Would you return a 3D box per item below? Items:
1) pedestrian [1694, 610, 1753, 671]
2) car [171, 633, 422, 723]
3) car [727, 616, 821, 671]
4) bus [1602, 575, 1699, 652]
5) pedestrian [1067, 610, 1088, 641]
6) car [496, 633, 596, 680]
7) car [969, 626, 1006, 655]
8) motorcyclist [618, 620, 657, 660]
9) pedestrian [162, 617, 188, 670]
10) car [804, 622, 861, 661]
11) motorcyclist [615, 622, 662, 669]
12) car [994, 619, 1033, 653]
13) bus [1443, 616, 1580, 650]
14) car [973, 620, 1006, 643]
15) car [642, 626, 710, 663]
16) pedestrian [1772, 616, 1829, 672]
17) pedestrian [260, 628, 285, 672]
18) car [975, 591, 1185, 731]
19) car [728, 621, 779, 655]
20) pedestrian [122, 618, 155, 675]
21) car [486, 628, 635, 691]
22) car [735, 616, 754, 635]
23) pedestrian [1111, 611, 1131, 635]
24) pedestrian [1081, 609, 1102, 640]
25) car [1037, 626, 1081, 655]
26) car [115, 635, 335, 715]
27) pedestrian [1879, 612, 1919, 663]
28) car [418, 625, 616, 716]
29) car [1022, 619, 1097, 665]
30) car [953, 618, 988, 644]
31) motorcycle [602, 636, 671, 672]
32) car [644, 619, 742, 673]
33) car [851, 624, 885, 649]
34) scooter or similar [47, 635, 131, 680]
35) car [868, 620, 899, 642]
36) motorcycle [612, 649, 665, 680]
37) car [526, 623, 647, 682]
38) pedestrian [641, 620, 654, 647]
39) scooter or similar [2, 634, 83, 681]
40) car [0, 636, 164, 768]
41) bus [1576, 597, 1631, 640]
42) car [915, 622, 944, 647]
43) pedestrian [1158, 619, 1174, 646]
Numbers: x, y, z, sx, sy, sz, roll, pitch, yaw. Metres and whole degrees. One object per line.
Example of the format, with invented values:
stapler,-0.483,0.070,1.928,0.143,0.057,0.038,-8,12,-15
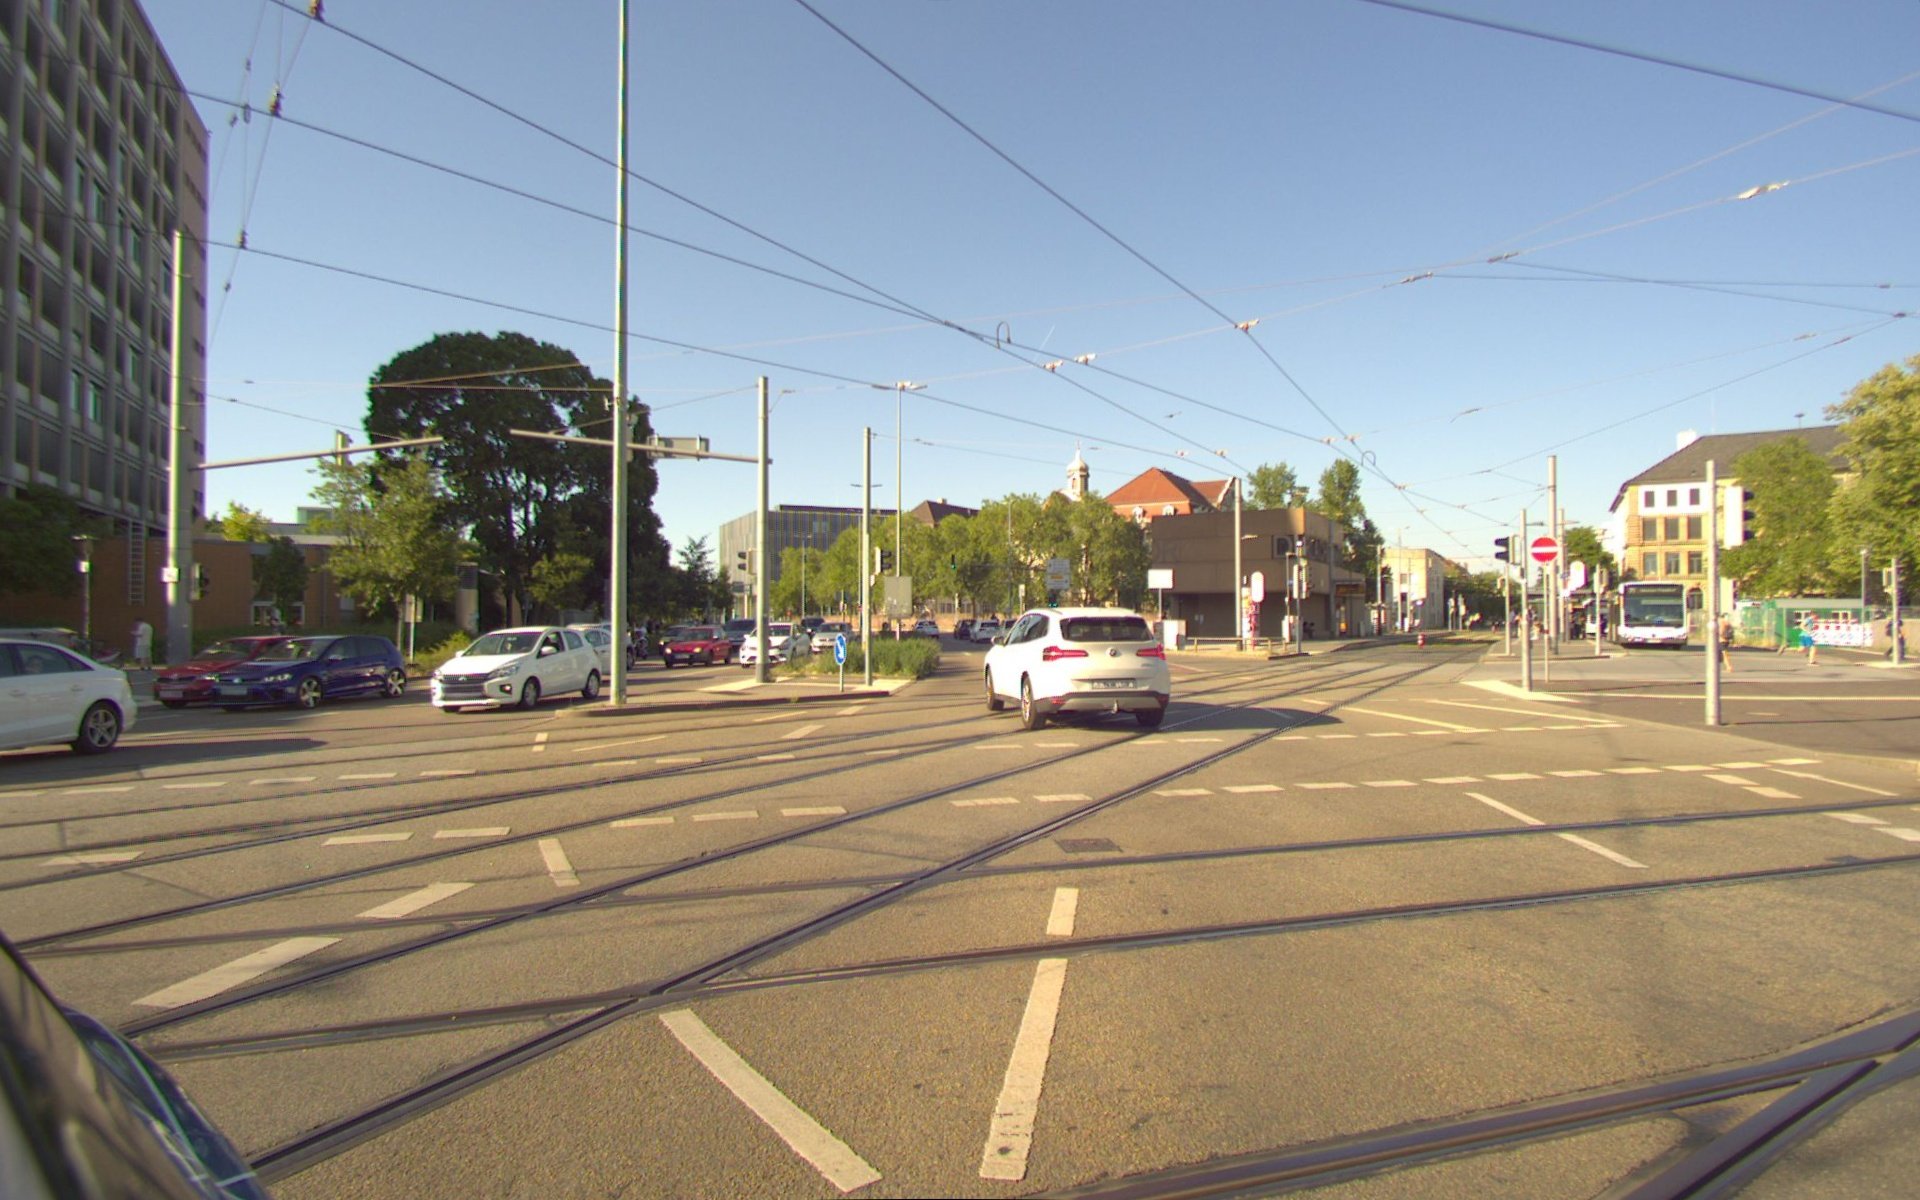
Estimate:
pedestrian,21.961,1.176,29.124,0.716,1.699,1.060,-2,-2,-30
car,-13.537,1.527,21.064,1.796,1.503,4.644,-3,-1,6
car,-6.088,1.403,33.582,1.975,1.689,4.275,0,-1,6
bus,33.371,0.606,49.345,2.831,3.218,12.529,-4,-2,30
pedestrian,7.012,1.529,60.415,0.791,1.782,0.966,-3,-2,-16
car,-14.827,1.981,36.485,1.734,1.475,4.014,0,0,4
car,1.724,2.540,64.394,1.831,1.642,3.874,-4,-1,-5
motorcyclist,-14.214,1.757,44.646,1.103,1.680,1.452,-3,-2,4
pedestrian,-25.209,1.394,32.486,0.421,1.647,0.505,-3,-2,-5
car,-5.747,1.827,45.991,1.973,1.689,4.281,0,-1,1
motorcyclist,-11.981,1.686,37.721,1.105,1.680,1.450,-3,-2,8
car,2.759,1.875,52.924,1.697,1.643,3.872,-2,-1,-2
bus,59.735,3.663,110.181,3.199,3.218,12.684,-2,-2,-39
car,2.238,2.412,77.843,1.830,1.642,3.876,-4,-1,-7
car,-14.583,2.268,52.247,1.973,1.697,4.704,-3,-2,2
pedestrian,27.768,1.445,33.455,1.160,1.782,0.806,-3,-2,-13
pedestrian,-26.092,1.886,38.414,0.565,1.647,0.505,-3,-2,-5
car,1.575,0.835,15.166,1.910,1.760,4.631,0,-2,-9
car,-10.906,1.978,53.705,1.798,1.741,3.998,-1,-1,1
pedestrian,-25.293,1.422,31.165,0.483,1.724,0.620,-4,-2,22
car,-9.986,1.445,25.654,1.765,1.475,3.903,0,-2,9
car,-33.870,3.997,159.296,2.116,2.889,4.986,0,-1,-21
pedestrian,10.954,1.563,68.817,0.791,1.579,1.183,-3,-2,-16
pedestrian,7.889,1.488,60.681,0.791,1.782,0.976,-3,-2,-16
car,6.248,2.548,64.216,1.836,1.642,4.043,-4,-1,-6
car,-16.192,1.597,22.581,1.735,1.475,4.011,0,0,7
pedestrian,32.931,1.289,35.242,1.047,1.699,0.724,-4,-2,16
car,-8.250,1.261,19.227,1.701,1.504,3.861,-1,-1,8
car,3.494,1.475,36.390,1.819,1.434,4.437,-3,-1,-5
car,0.707,2.120,69.737,1.830,1.642,3.876,-4,-1,-7
motorcycle,-11.988,1.981,37.660,1.105,1.204,3.224,-3,-2,8
car,-9.333,1.588,35.732,1.976,1.697,3.992,-3,-2,6
car,-6.503,2.555,71.603,1.972,1.689,4.281,0,-1,1
scooter or similar,-26.630,1.760,30.959,0.798,1.256,1.808,-4,-2,35
car,-6.270,2.564,83.655,1.973,1.697,4.703,-3,-2,2
motorcycle,-14.157,2.815,44.646,1.103,1.204,3.229,-3,-2,4
car,-12.051,1.662,32.910,1.977,1.618,3.990,-5,-1,8
pedestrian,-20.015,2.124,64.815,0.558,1.674,0.592,-3,-2,2
scooter or similar,-26.604,1.658,29.372,1.681,1.256,0.801,-2,-2,-40
car,-11.067,1.095,10.812,1.800,1.399,4.460,-1,-2,-3
bus,54.026,1.474,85.196,3.239,3.218,12.529,-4,-2,30
car,-2.325,2.553,75.363,1.830,1.642,3.875,-4,-1,-5
pedestrian,13.977,2.210,68.658,0.800,1.782,0.964,-4,-2,27
